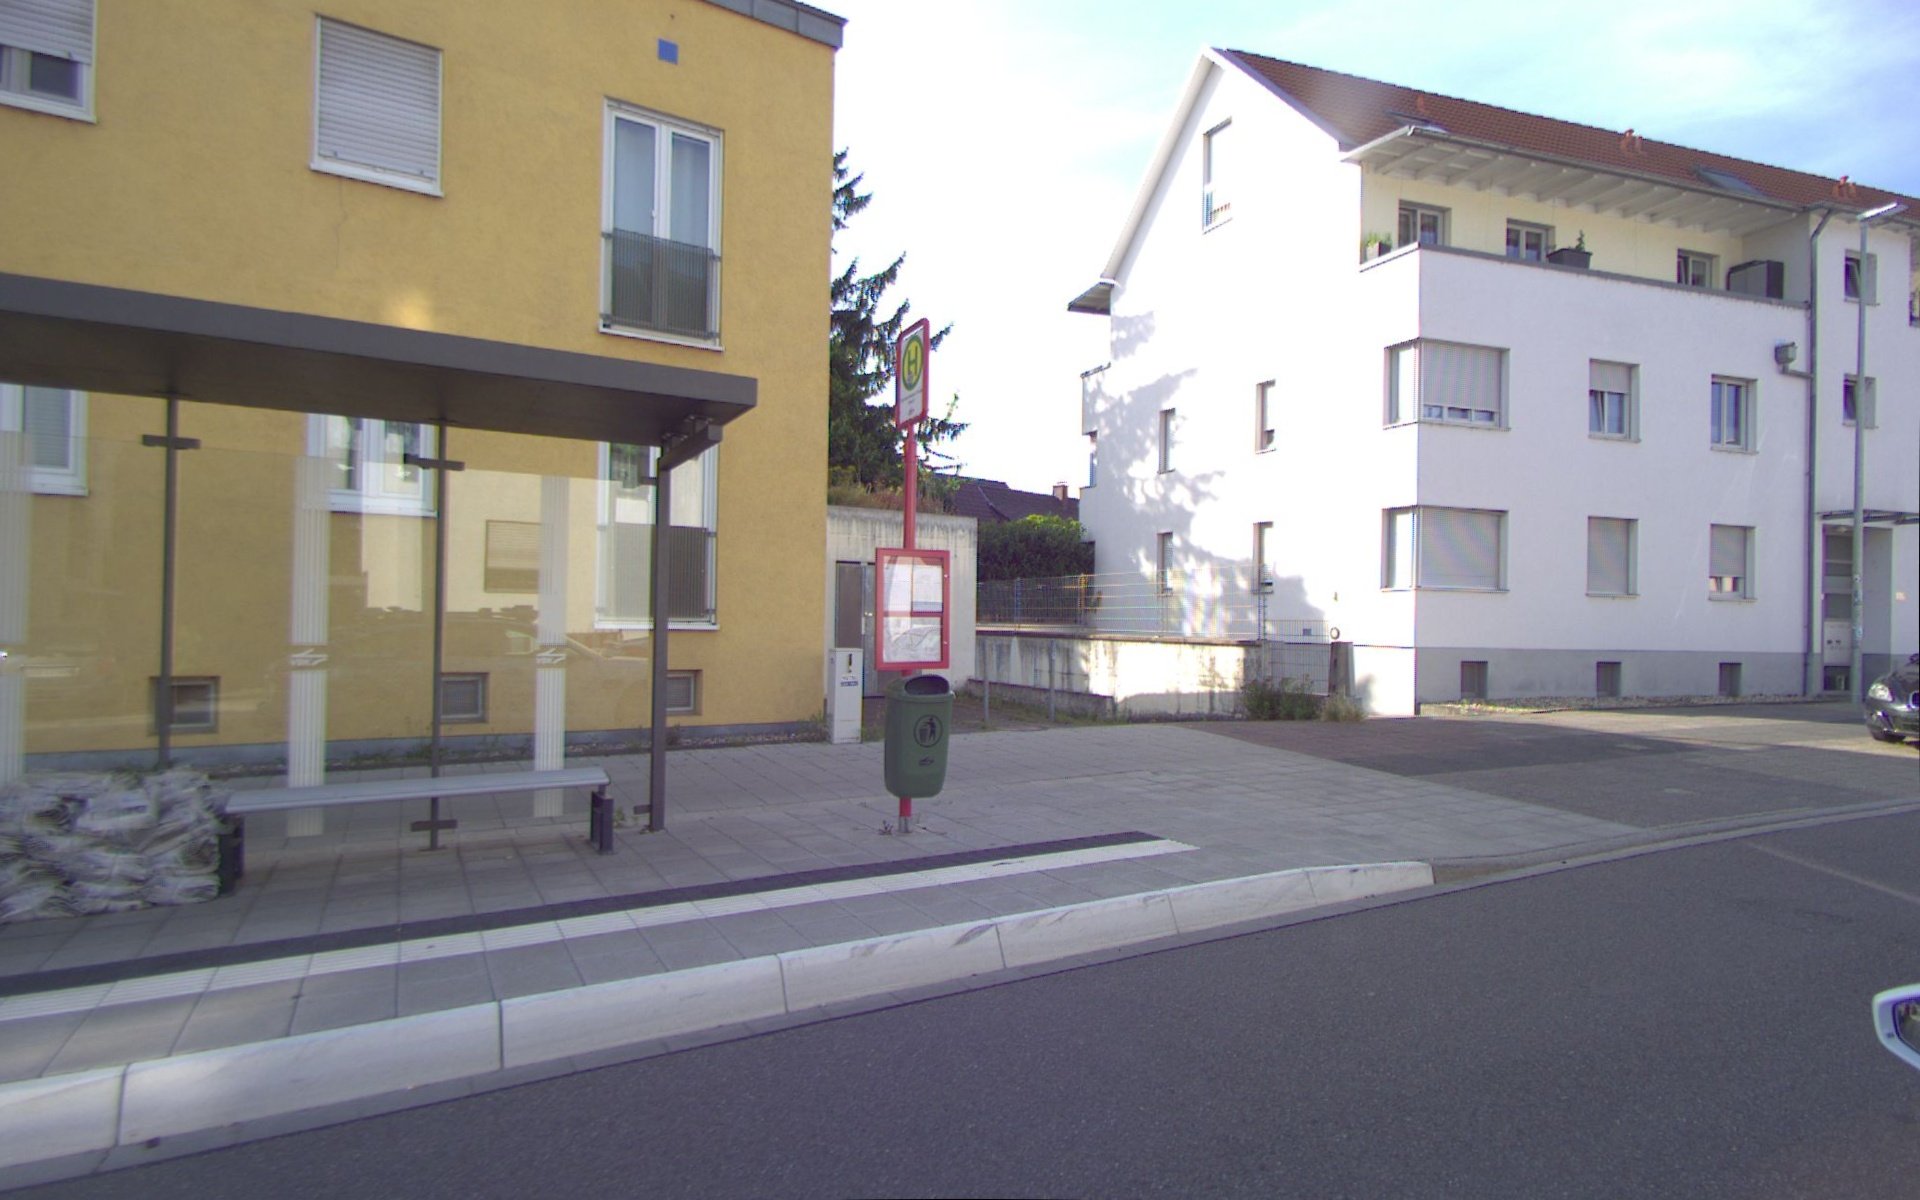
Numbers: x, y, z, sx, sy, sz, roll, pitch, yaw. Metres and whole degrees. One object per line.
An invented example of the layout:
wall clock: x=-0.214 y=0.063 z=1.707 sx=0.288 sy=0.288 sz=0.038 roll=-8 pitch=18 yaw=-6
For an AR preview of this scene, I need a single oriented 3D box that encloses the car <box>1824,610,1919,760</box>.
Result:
car: x=12.774 y=1.021 z=12.145 sx=4.117 sy=1.644 sz=1.772 roll=1 pitch=2 yaw=-22
